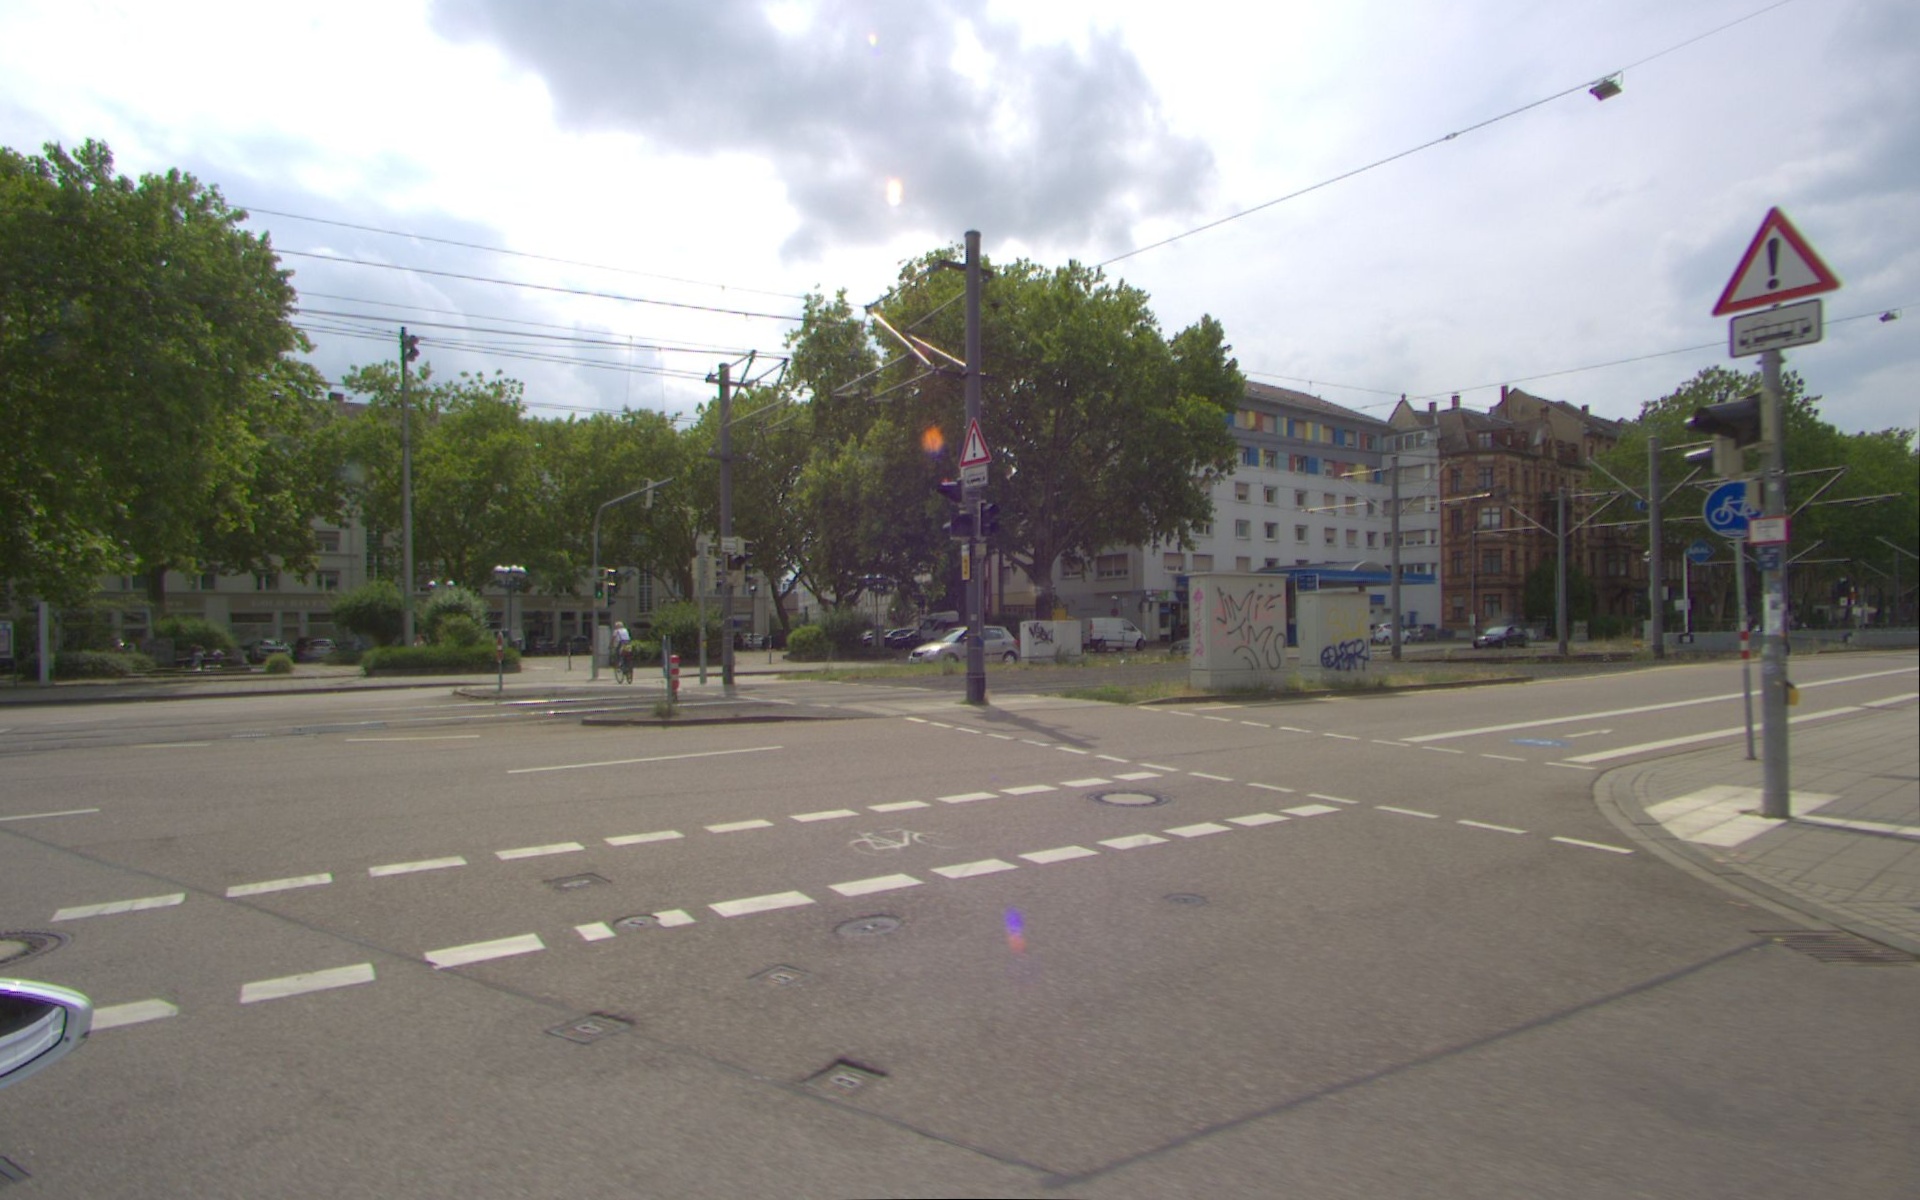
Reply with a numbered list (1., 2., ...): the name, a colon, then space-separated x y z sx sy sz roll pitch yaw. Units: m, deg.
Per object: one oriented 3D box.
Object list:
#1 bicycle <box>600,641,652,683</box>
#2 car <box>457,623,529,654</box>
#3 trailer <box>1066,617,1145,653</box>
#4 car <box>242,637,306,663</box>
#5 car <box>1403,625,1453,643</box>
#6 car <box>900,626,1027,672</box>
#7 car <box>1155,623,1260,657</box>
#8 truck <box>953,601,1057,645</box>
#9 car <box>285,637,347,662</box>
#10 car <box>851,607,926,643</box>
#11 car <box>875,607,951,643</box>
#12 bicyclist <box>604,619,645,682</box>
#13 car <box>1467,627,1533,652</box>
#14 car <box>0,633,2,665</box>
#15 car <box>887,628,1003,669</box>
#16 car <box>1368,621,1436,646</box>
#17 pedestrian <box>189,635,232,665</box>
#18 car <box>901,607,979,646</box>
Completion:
1. bicycle: -9.297 1.705 27.801 0.894 1.089 1.958 0 -2 -34
2. car: -30.225 2.461 64.800 3.950 1.907 1.844 0 -1 -36
3. trailer: 8.264 1.949 56.681 4.381 1.950 1.842 0 -1 -36
4. car: -42.637 3.091 62.227 3.946 1.522 1.988 -1 -2 35
5. car: 38.793 2.804 82.965 4.414 1.433 1.748 1 -2 -35
6. car: 0.144 1.595 33.183 3.945 1.417 1.616 0 -3 -32
7. car: 11.160 1.804 45.022 4.735 1.417 1.750 0 -3 -32
8. truck: 2.712 1.432 61.983 3.043 2.611 6.464 0 -1 -37
9. car: -41.102 3.121 63.931 3.946 1.538 1.988 -1 -2 35
10. car: -5.501 1.930 77.082 5.274 2.617 2.480 1 -3 -38
11. car: -3.499 1.878 74.944 5.274 2.617 2.480 1 -3 -38
12. bicyclist: -9.318 1.394 27.816 0.895 1.705 0.752 0 -1 -35
13. car: 32.543 2.360 60.289 3.945 1.417 1.750 0 -3 -32
14. car: -53.755 2.682 54.366 3.946 1.705 1.800 -1 -1 35
15. car: -0.547 1.786 37.301 4.024 1.432 1.750 0 -3 -32
16. car: 28.989 2.175 65.641 4.558 1.534 1.984 0 -3 -34
17. pedestrian: -32.881 2.205 43.918 1.421 1.252 1.088 -2 0 34
18. car: -1.404 1.901 70.994 5.274 2.617 2.164 1 -3 -38
